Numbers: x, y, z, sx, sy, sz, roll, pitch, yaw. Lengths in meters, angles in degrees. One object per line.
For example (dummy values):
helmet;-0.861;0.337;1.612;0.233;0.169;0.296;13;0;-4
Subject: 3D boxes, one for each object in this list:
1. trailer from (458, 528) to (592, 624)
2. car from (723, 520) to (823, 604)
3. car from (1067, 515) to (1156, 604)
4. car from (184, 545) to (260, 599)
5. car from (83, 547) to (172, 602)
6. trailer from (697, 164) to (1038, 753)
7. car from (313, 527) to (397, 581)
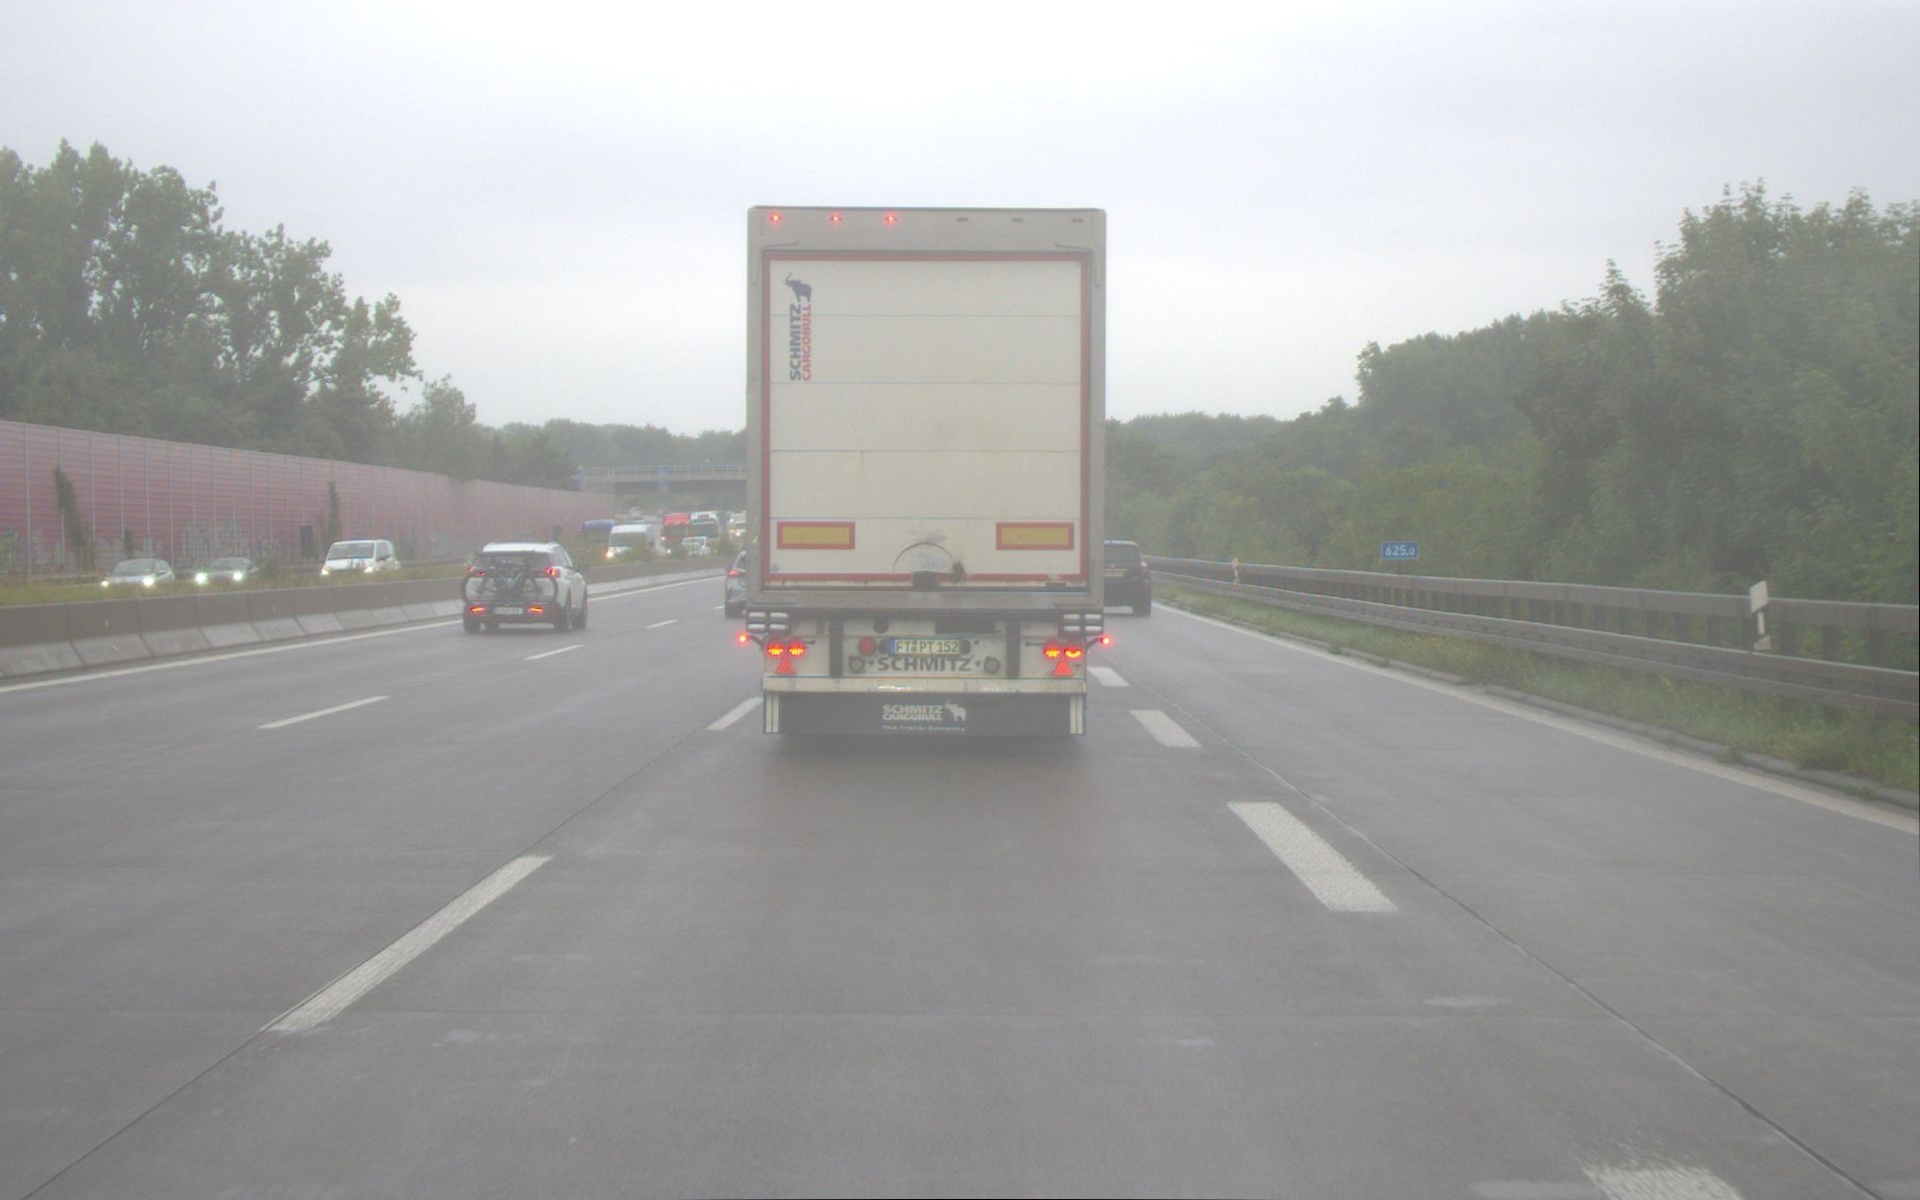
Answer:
trailer;-7.708;-0.453;61.281;1.815;1.619;4.568;0;1;0
car;-3.982;-0.840;73.692;1.894;1.717;4.000;1;1;0
car;3.413;-0.935;78.219;1.897;1.943;4.000;1;1;1
car;-27.997;-1.063;130.568;1.993;2.007;4.000;0;1;1
car;-27.694;-0.866;114.490;1.993;1.778;4.291;0;1;-1
trailer;-0.663;-1.138;31.885;2.342;4.143;14.827;1;1;0
car;-20.447;-1.572;116.454;1.993;1.778;5.210;0;1;-1
